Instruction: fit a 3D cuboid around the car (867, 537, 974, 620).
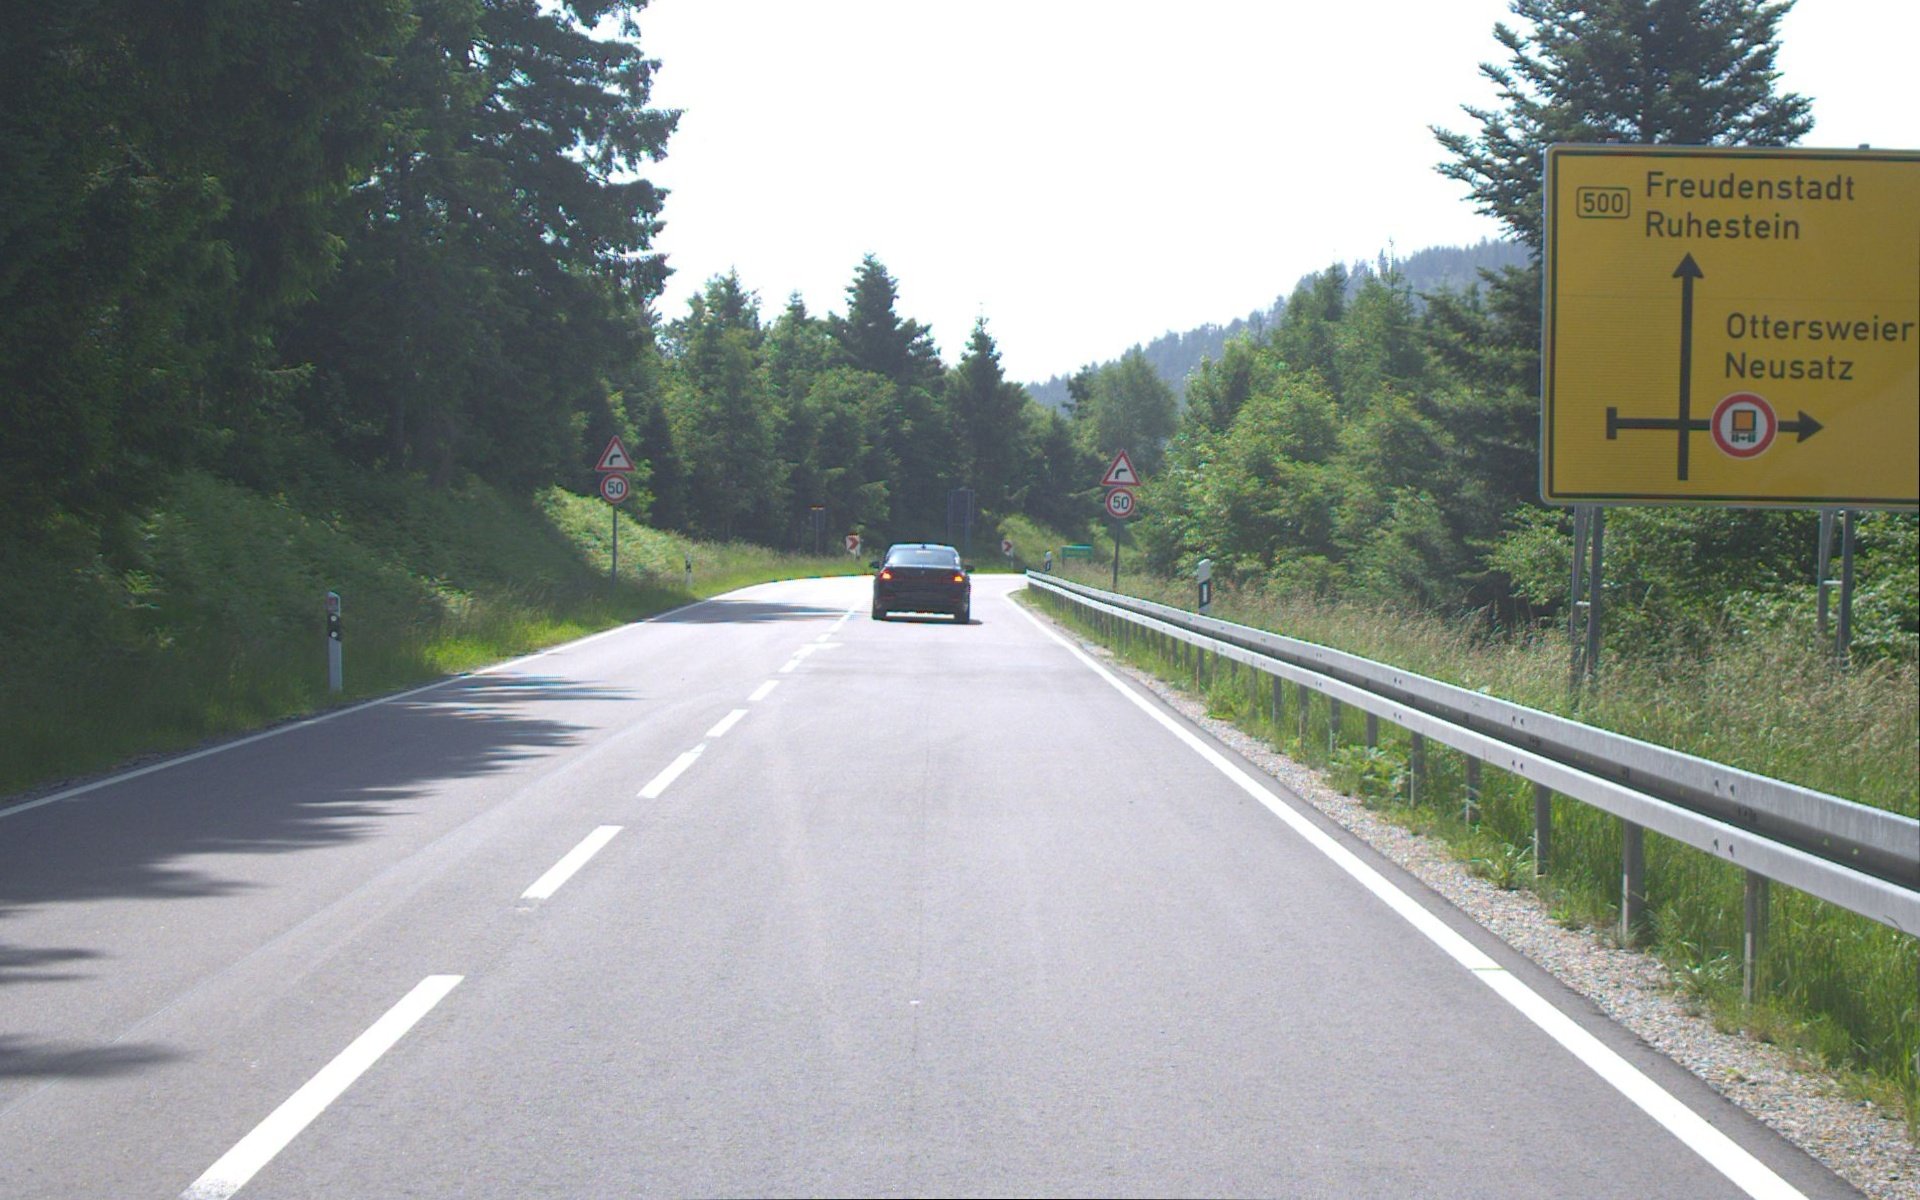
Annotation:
[{"bbox_3d":[-0.707,-0.421,64.078,1.776,1.437,3.709,2,1,2],"label":"car"}]
